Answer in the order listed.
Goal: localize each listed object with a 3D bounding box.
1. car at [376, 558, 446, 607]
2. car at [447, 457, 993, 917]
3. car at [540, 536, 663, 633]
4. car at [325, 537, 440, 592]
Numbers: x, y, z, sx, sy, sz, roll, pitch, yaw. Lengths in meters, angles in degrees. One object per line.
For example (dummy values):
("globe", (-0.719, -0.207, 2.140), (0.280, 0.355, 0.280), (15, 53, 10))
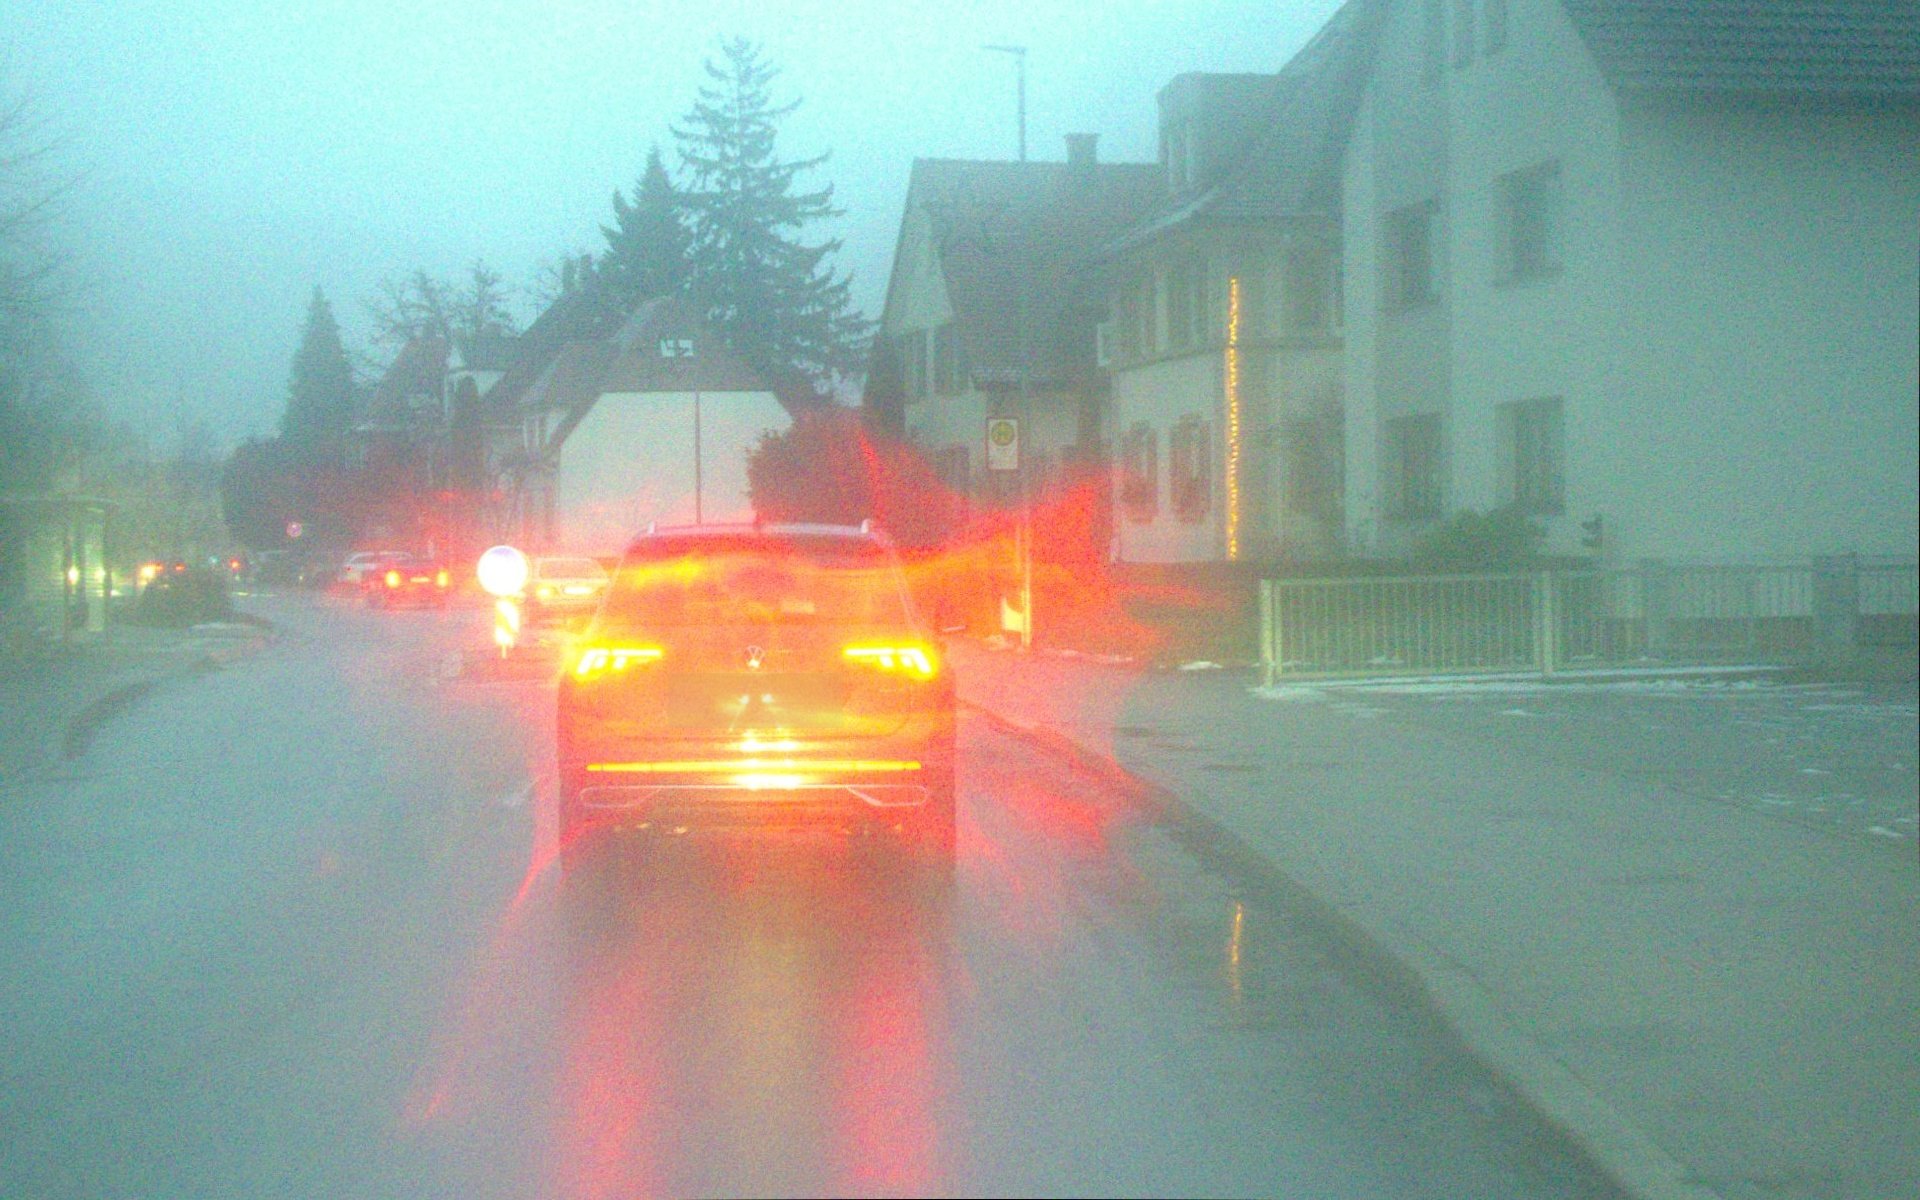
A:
("car", (-15.596, -0.511, 97.561), (1.842, 1.327, 3.939), (-1, 1, -11))
("car", (-1.109, 0.353, 17.220), (2.309, 1.932, 5.018), (-1, 0, -2))
("car", (-7.562, -0.325, 72.104), (2.309, 1.932, 5.019), (-1, 0, -8))
("car", (-22.362, -1.380, 133.030), (4.245, 2.007, 1.811), (-1, 1, -14))
